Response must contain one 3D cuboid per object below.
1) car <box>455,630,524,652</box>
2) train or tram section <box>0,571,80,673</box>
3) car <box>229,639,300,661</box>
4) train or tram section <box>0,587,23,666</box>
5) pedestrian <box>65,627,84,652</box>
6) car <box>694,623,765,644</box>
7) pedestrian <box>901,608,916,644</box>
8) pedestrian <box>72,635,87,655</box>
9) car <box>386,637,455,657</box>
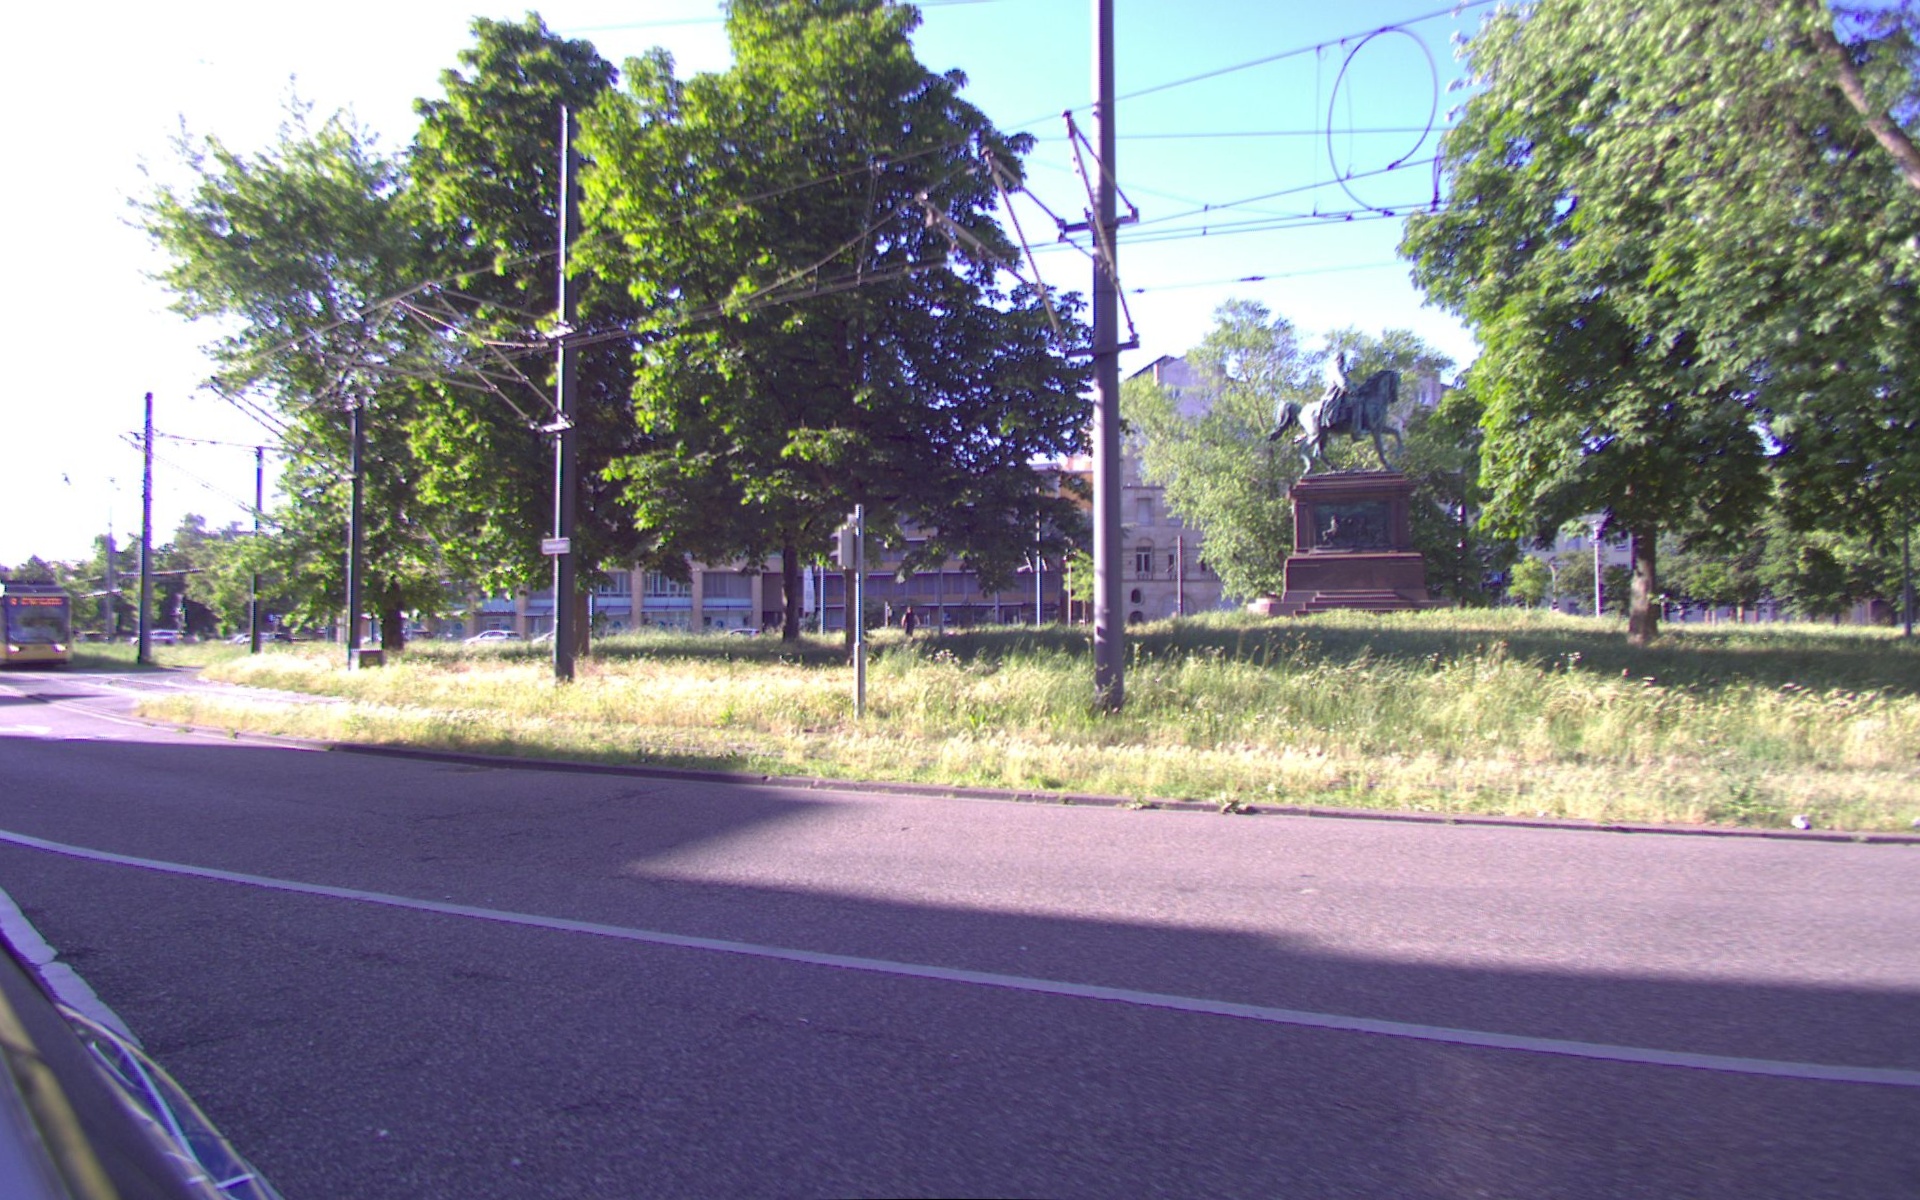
[{"bbox_3d":[-36.500,3.203,78.553,4.611,1.608,1.991,-1,0,14],"label":"car"},{"bbox_3d":[-39.753,1.016,42.042,13.174,3.713,2.919,-2,-2,41],"label":"train or tram section"},{"bbox_3d":[-57.596,4.132,83.850,5.037,1.747,2.097,-1,-2,14],"label":"car"},{"bbox_3d":[-49.700,1.445,50.418,13.624,3.640,2.919,-2,-2,41],"label":"train or tram section"},{"bbox_3d":[-60.481,2.692,69.097,0.740,1.683,0.730,-2,-2,24],"label":"pedestrian"},{"bbox_3d":[-17.024,2.444,74.813,4.709,1.364,1.996,-2,-1,6],"label":"car"},{"bbox_3d":[-2.363,1.181,46.162,0.546,1.628,0.677,-1,0,-12],"label":"pedestrian"},{"bbox_3d":[-90.932,4.687,104.515,0.917,2.029,0.874,-1,0,16],"label":"pedestrian"},{"bbox_3d":[-42.771,3.731,80.284,4.978,1.458,1.988,-1,0,18],"label":"car"}]
